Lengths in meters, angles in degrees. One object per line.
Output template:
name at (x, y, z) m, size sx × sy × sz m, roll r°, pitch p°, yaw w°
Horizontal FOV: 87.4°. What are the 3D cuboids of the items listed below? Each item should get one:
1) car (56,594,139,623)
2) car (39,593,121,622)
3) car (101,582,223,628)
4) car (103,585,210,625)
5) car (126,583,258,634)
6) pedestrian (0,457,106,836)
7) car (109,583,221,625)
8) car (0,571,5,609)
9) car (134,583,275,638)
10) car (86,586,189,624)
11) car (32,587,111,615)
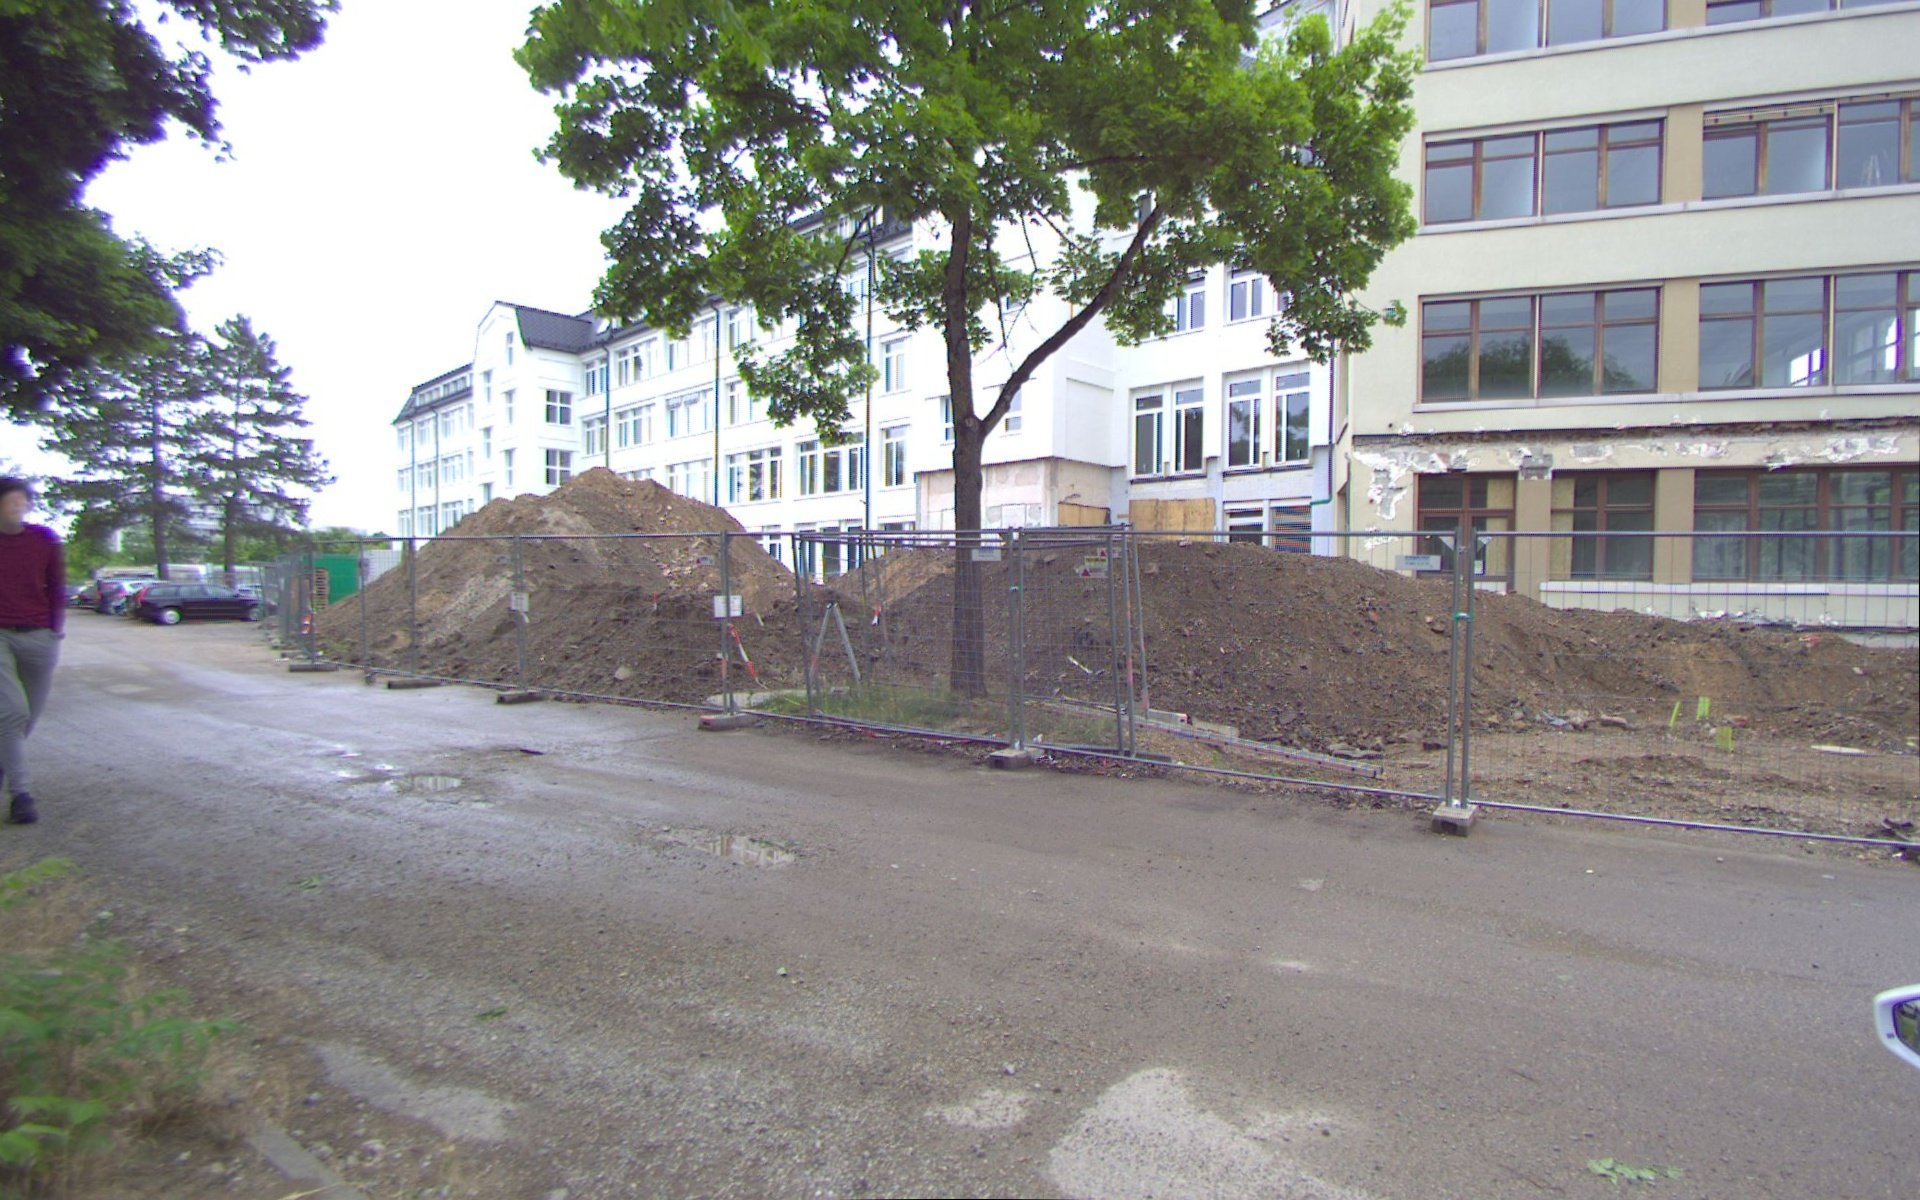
car at (-56.980, 0.550, 66.405) m, size 1.971 × 1.862 × 3.978 m, roll 1°, pitch 0°, yaw 42°
car at (-59.276, 0.501, 67.717) m, size 1.971 × 1.862 × 3.978 m, roll 1°, pitch 0°, yaw 42°
car at (-34.142, 0.216, 43.039) m, size 3.971 × 1.883 × 1.975 m, roll 1°, pitch 0°, yaw -43°
car at (-39.016, 0.239, 48.889) m, size 3.965 × 1.862 × 1.978 m, roll 1°, pitch 0°, yaw -39°
car at (-29.711, 0.325, 38.964) m, size 3.965 × 1.862 × 1.978 m, roll 1°, pitch 0°, yaw -39°
pedestrian at (-5.705, 0.254, 5.958) m, size 1.183 × 2.092 × 0.791 m, roll 1°, pitch 0°, yaw 41°
car at (-36.627, 0.184, 46.378) m, size 3.965 × 1.862 × 1.978 m, roll 1°, pitch 0°, yaw -39°
car at (-54.873, -0.581, 55.776) m, size 3.937 × 2.040 × 2.117 m, roll 1°, pitch 0°, yaw 38°
car at (-27.214, 0.375, 36.279) m, size 3.965 × 1.862 × 1.978 m, roll 1°, pitch 0°, yaw -39°
car at (-41.628, 0.263, 50.939) m, size 3.965 × 1.862 × 1.978 m, roll 1°, pitch 0°, yaw -39°
car at (-62.295, 0.083, 70.481) m, size 1.971 × 1.862 × 3.978 m, roll 1°, pitch 0°, yaw 42°
